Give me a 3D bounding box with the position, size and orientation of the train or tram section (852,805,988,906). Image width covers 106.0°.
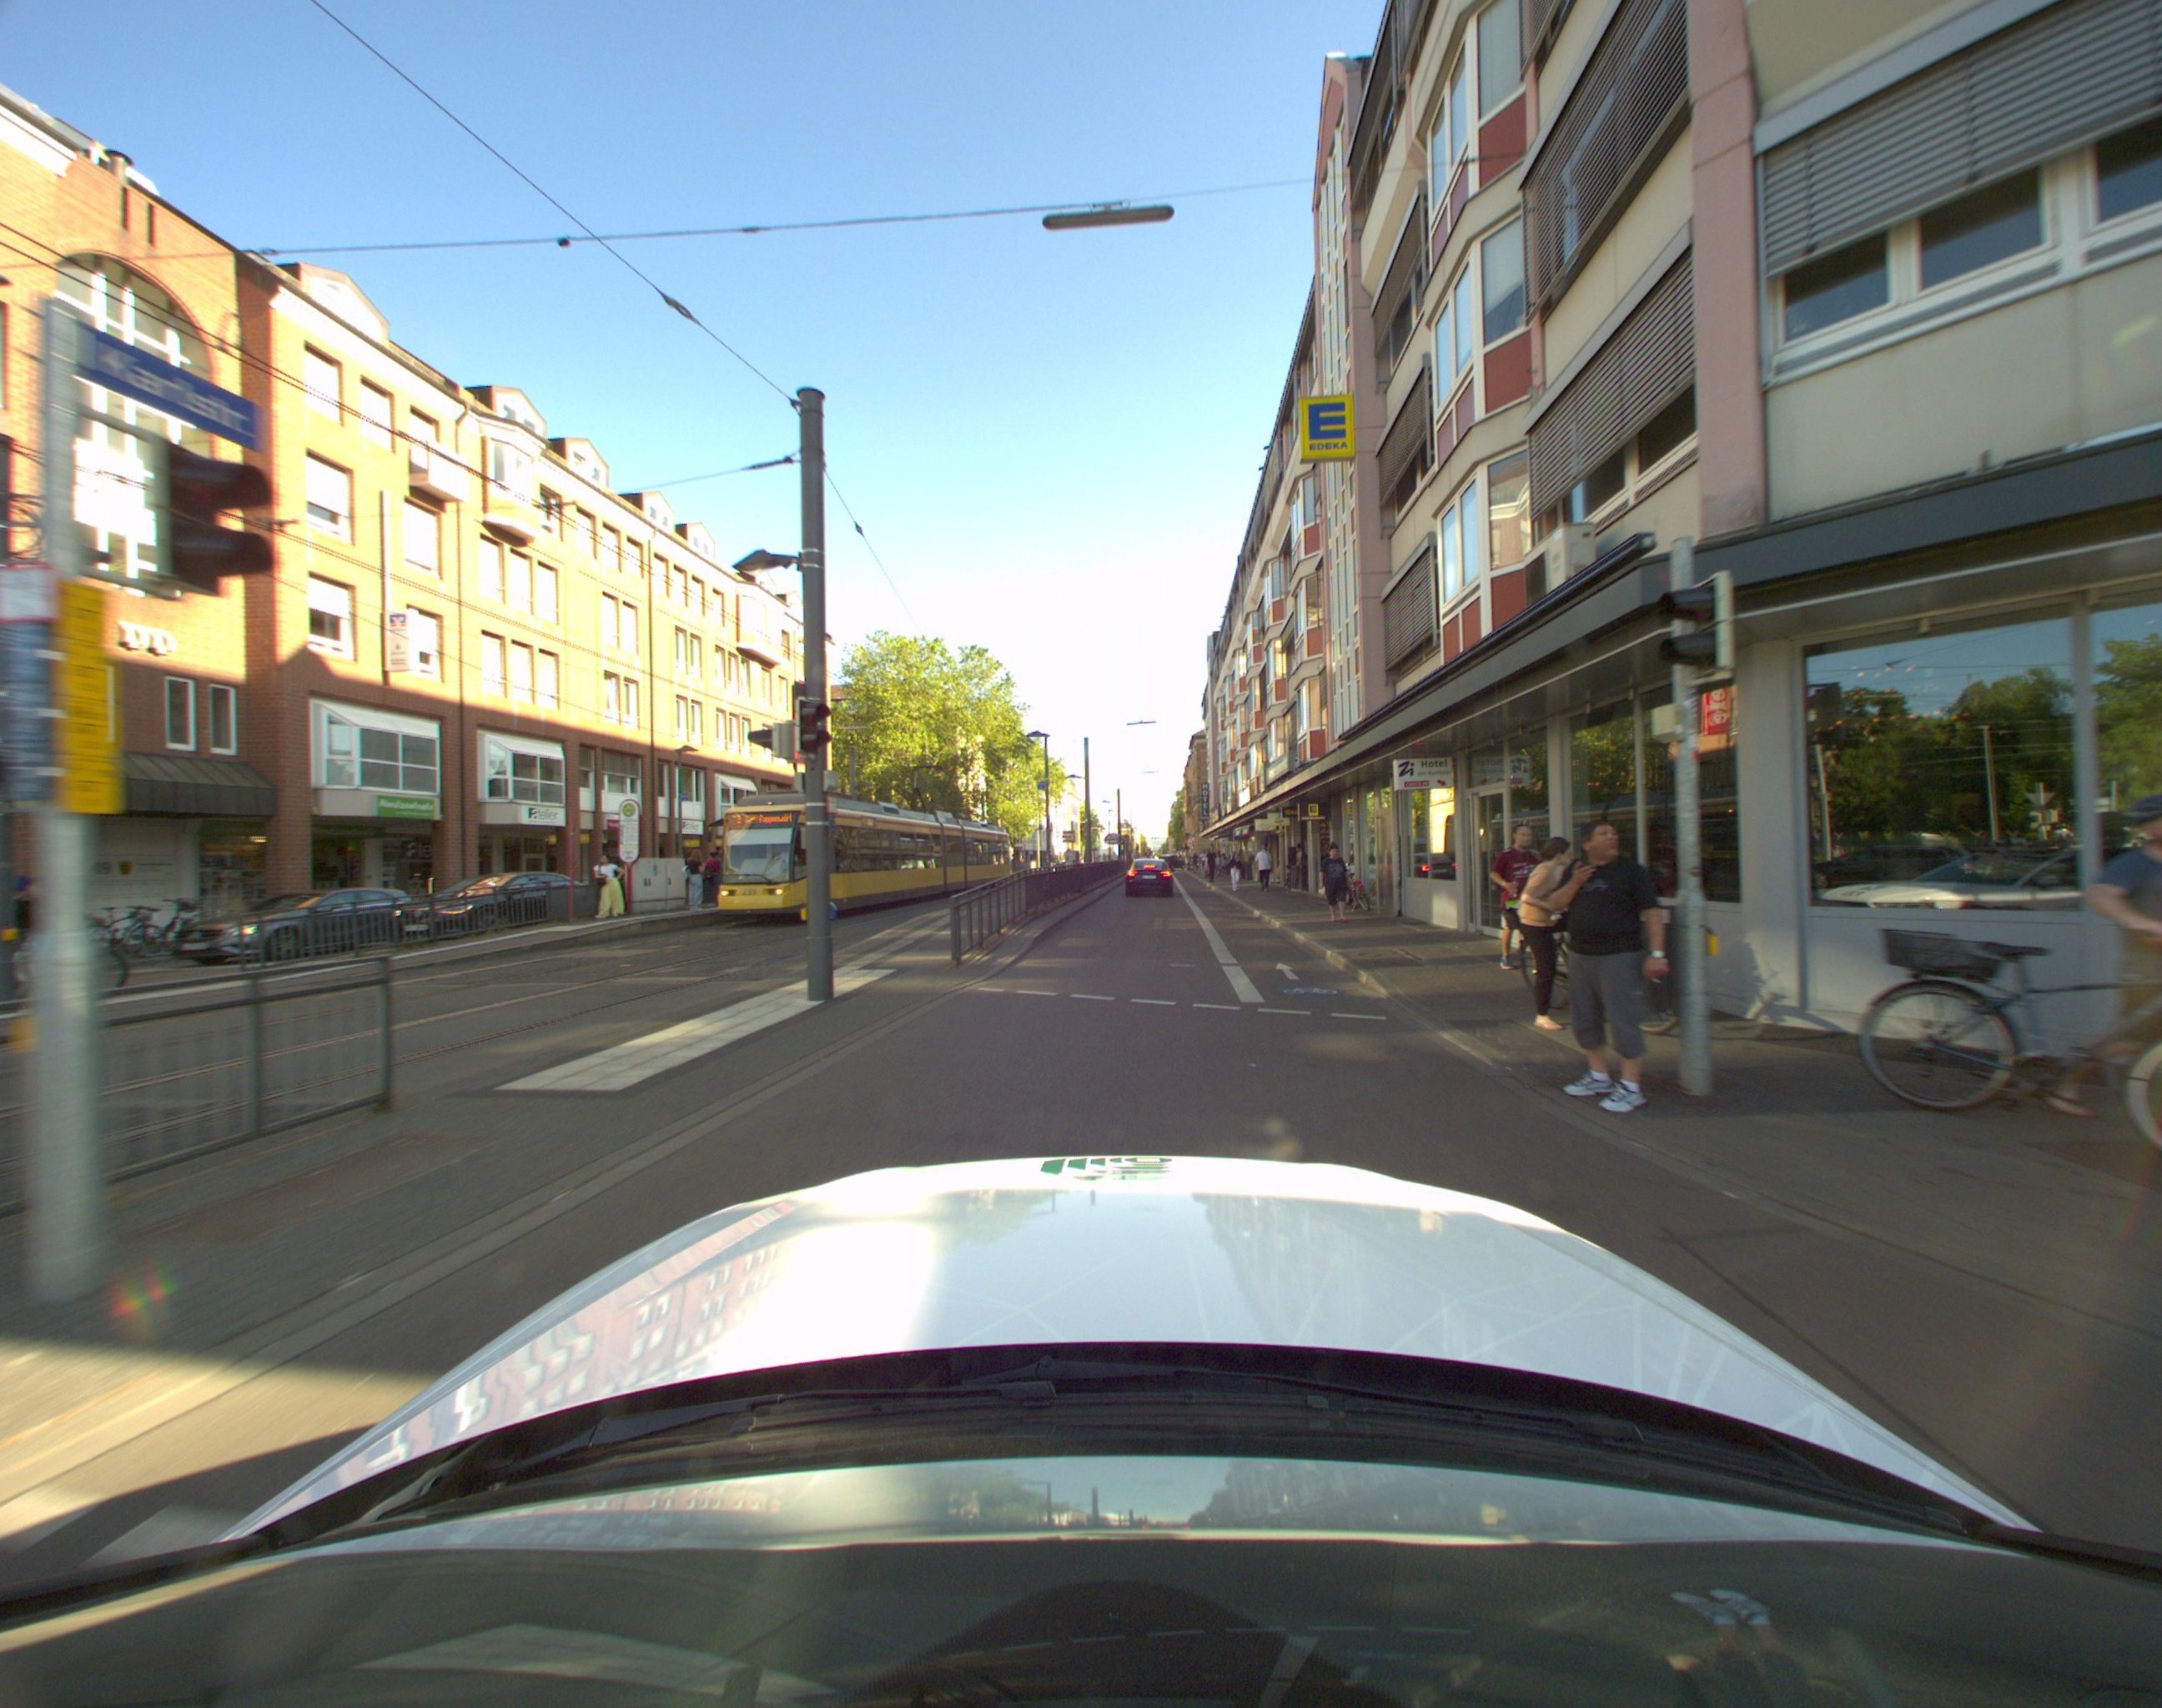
[{"bbox_3d":[-6.350,0.084,34.247,2.700,3.546,10.184,-1,0,5],"label":"train or tram section"}]

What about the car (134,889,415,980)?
[{"bbox_3d":[-16.826,1.600,17.323,1.809,1.454,3.981,-3,-1,3],"label":"car"}]

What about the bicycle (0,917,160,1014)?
[{"bbox_3d":[-13.012,1.427,10.516,1.671,1.158,0.492,-1,-1,1],"label":"bicycle"}]

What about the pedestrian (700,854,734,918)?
[{"bbox_3d":[-9.977,0.867,22.326,0.578,1.721,0.641,-2,-1,36],"label":"pedestrian"}]

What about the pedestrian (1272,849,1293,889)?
[{"bbox_3d":[8.511,0.647,34.439,0.734,1.653,0.719,-1,-1,3],"label":"pedestrian"}]

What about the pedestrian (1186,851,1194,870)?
[{"bbox_3d":[11.069,0.625,82.523,0.693,1.896,0.751,-1,-1,6],"label":"pedestrian"}]

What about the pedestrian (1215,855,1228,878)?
[{"bbox_3d":[10.025,0.875,58.060,0.837,1.607,0.789,-1,-1,6],"label":"pedestrian"}]

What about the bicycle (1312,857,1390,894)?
[{"bbox_3d":[9.408,0.732,28.440,2.418,1.217,0.796,-1,-1,3],"label":"bicycle"}]

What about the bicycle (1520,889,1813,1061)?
[{"bbox_3d":[4.617,0.875,6.666,0.489,1.102,2.114,-1,0,-14],"label":"bicycle"}]

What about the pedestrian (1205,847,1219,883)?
[{"bbox_3d":[7.090,0.586,44.168,0.693,1.896,0.751,-1,-1,6],"label":"pedestrian"}]

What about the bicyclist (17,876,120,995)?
[{"bbox_3d":[-13.056,1.035,10.515,0.714,1.470,0.483,-1,-1,1],"label":"bicyclist"}]

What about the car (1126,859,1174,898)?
[{"bbox_3d":[2.772,0.972,32.510,1.782,1.451,3.944,0,-1,5],"label":"car"}]

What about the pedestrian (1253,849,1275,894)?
[{"bbox_3d":[6.985,0.671,31.043,0.693,1.677,0.751,-1,-1,6],"label":"pedestrian"}]

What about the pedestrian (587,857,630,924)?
[{"bbox_3d":[-11.350,0.873,19.561,0.631,1.564,0.588,-1,-1,15],"label":"pedestrian"}]

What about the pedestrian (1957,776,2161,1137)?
[{"bbox_3d":[5.538,0.495,4.310,0.907,1.754,0.843,-2,-1,20],"label":"pedestrian"}]

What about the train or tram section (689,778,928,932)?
[{"bbox_3d":[-7.361,0.048,24.157,2.715,3.542,10.103,-1,0,6],"label":"train or tram section"}]

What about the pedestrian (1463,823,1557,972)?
[{"bbox_3d":[5.085,0.498,9.683,0.686,1.688,0.669,-1,-1,-9],"label":"pedestrian"}]

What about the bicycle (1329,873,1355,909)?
[{"bbox_3d":[6.696,0.935,20.933,0.412,0.857,1.240,-1,0,7],"label":"bicycle"}]

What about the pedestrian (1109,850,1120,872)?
[{"bbox_3d":[2.629,0.548,63.840,0.754,1.770,0.700,-1,-1,4],"label":"pedestrian"}]

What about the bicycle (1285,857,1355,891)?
[{"bbox_3d":[9.065,0.765,31.011,2.418,1.217,0.830,-1,-1,3],"label":"bicycle"}]

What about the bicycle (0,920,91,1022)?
[{"bbox_3d":[-13.154,1.413,9.875,1.704,1.158,0.492,-1,-1,1],"label":"bicycle"}]

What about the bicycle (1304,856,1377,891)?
[{"bbox_3d":[9.535,0.718,29.982,2.418,1.217,0.796,-1,-1,3],"label":"bicycle"}]

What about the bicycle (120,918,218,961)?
[{"bbox_3d":[-20.696,1.932,18.496,1.703,0.900,0.522,-1,-1,3],"label":"bicycle"}]

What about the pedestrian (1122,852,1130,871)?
[{"bbox_3d":[4.130,0.682,74.698,0.675,1.770,0.664,-1,-1,3],"label":"pedestrian"}]

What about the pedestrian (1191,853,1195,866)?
[{"bbox_3d":[17.343,0.867,126.100,0.693,1.878,0.751,-1,-1,6],"label":"pedestrian"}]

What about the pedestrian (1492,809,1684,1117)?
[{"bbox_3d":[3.194,0.637,5.221,0.624,1.782,0.918,-1,-1,1],"label":"pedestrian"}]

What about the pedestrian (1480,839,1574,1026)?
[{"bbox_3d":[3.910,0.656,7.145,0.475,1.562,0.539,-1,-1,-37],"label":"pedestrian"}]

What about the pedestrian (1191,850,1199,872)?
[{"bbox_3d":[9.887,0.580,70.620,0.693,1.896,0.751,-1,-1,6],"label":"pedestrian"}]

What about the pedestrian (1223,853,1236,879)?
[{"bbox_3d":[10.339,0.821,56.790,0.837,1.756,0.789,-1,-1,6],"label":"pedestrian"}]

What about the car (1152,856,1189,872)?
[{"bbox_3d":[10.013,1.129,91.195,3.702,1.664,1.734,-1,-1,-14],"label":"car"}]

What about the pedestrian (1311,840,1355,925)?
[{"bbox_3d":[5.158,0.574,16.722,0.693,1.677,0.751,-1,-1,6],"label":"pedestrian"}]

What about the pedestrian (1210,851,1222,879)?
[{"bbox_3d":[9.398,0.774,56.761,0.693,1.896,0.751,-1,-1,6],"label":"pedestrian"}]

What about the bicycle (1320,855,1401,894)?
[{"bbox_3d":[9.406,0.683,27.473,2.418,1.217,0.796,-1,-1,3],"label":"bicycle"}]

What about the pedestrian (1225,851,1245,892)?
[{"bbox_3d":[6.294,0.711,33.283,0.693,1.677,0.751,-1,-1,6],"label":"pedestrian"}]

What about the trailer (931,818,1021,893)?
[{"bbox_3d":[-5.409,0.093,43.971,2.700,3.546,9.372,-1,0,5],"label":"trailer"}]

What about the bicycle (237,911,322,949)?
[{"bbox_3d":[-20.485,1.941,20.818,1.703,0.900,0.522,-1,-1,3],"label":"bicycle"}]

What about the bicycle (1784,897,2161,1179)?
[{"bbox_3d":[4.875,0.854,4.208,0.488,1.161,1.965,-1,0,-12],"label":"bicycle"}]

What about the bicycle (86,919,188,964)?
[{"bbox_3d":[-20.683,1.922,17.855,1.703,0.900,0.522,-1,-1,3],"label":"bicycle"}]

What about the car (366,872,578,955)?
[{"bbox_3d":[-13.735,1.280,18.692,1.809,1.544,3.795,-3,-1,3],"label":"car"}]

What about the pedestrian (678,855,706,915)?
[{"bbox_3d":[-10.262,0.809,21.502,0.585,1.531,0.633,-1,-1,-19],"label":"pedestrian"}]

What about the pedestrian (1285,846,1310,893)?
[{"bbox_3d":[7.861,0.572,29.592,0.743,1.677,0.700,-1,-1,6],"label":"pedestrian"}]

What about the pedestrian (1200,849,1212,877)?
[{"bbox_3d":[8.332,0.599,54.205,0.693,1.896,0.751,-1,-1,6],"label":"pedestrian"}]
